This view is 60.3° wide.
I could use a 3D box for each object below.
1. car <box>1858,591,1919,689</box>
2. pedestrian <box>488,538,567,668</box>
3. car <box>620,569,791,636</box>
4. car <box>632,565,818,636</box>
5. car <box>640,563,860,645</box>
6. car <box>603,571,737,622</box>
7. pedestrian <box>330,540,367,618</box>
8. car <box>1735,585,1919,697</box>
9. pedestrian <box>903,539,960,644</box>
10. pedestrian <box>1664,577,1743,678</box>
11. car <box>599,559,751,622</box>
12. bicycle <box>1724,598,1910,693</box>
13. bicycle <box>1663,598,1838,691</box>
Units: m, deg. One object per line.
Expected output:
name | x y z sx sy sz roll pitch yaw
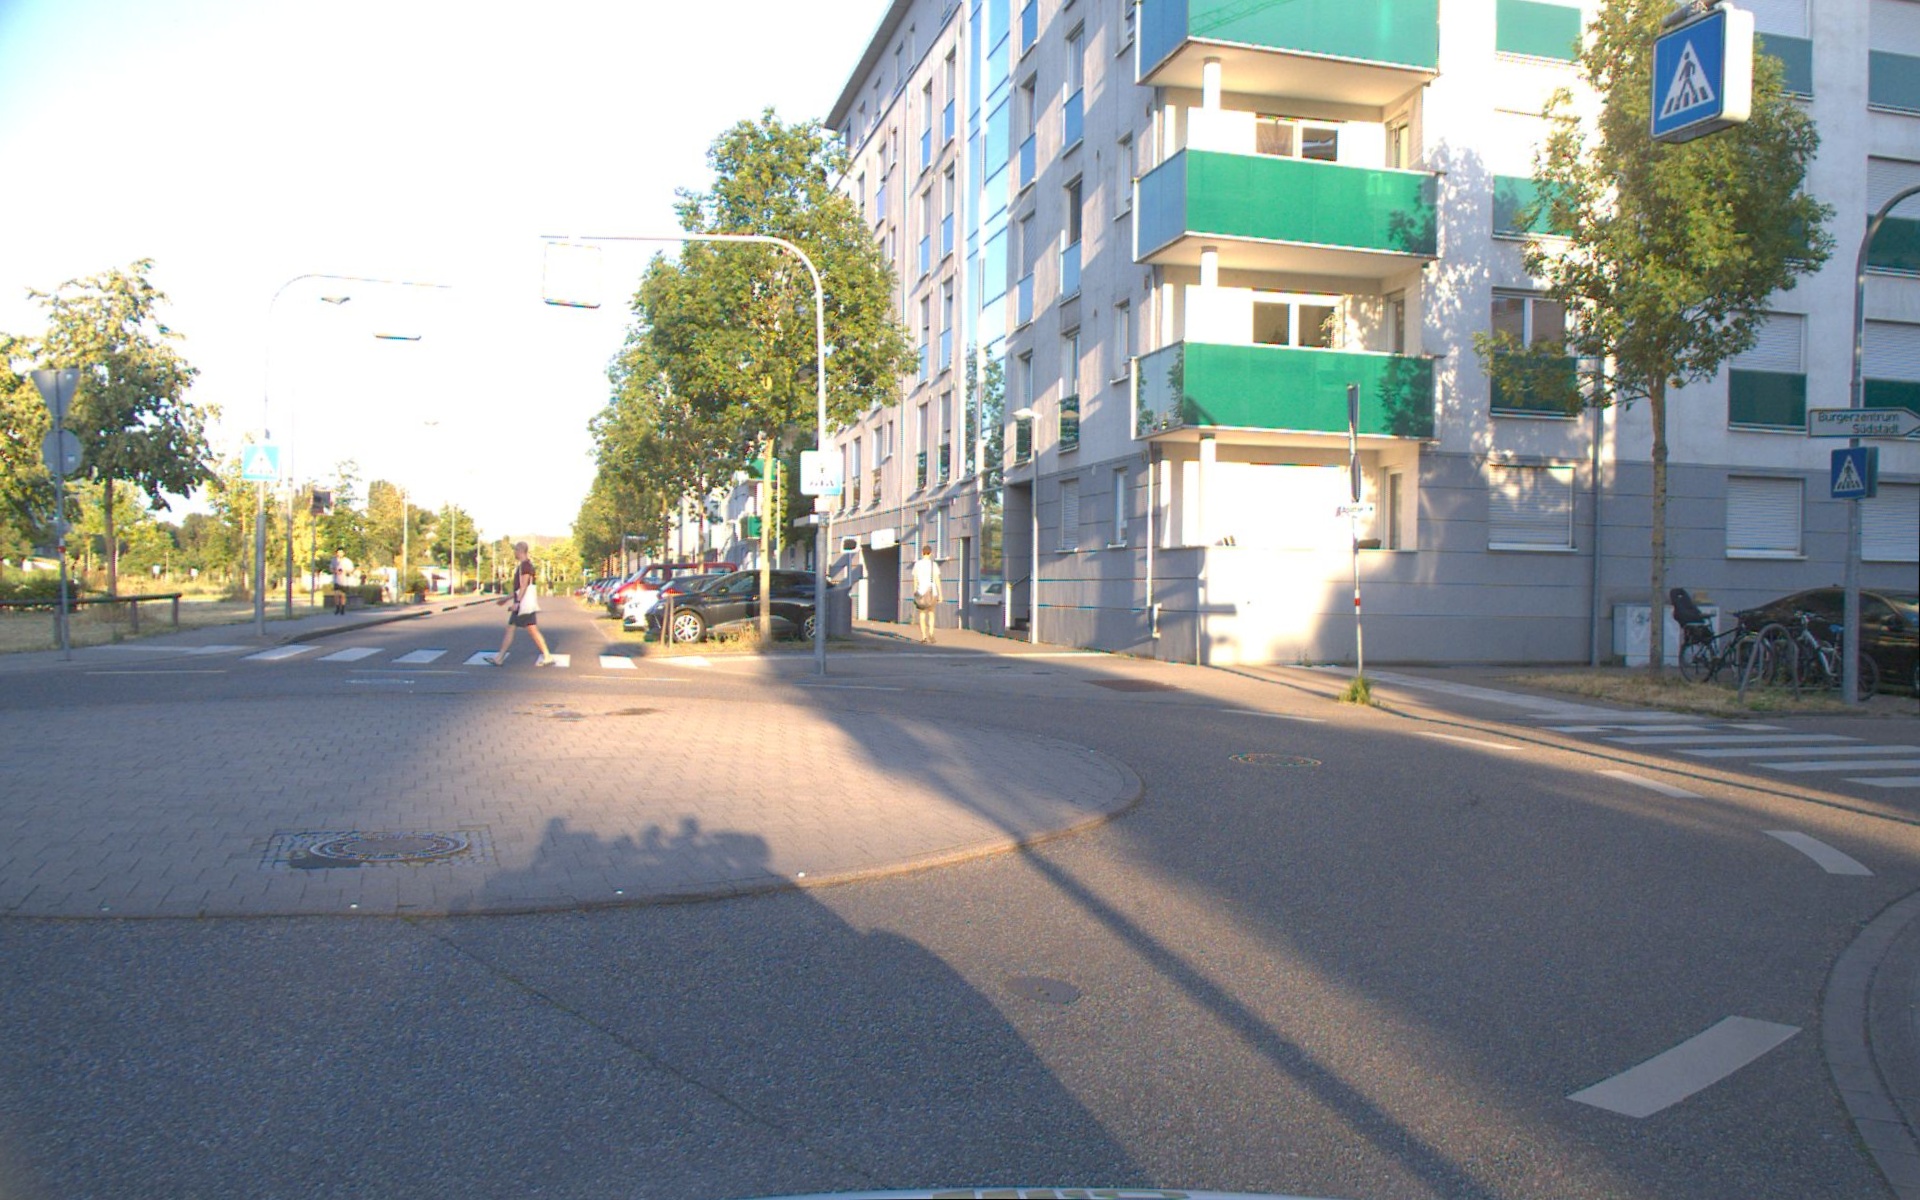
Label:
car | 15.818 0.634 24.363 1.961 1.478 4.575 0 0 -15
pedestrian | -6.216 0.045 23.748 0.988 1.819 0.758 2 0 -20
car | -6.526 0.067 42.200 4.189 1.624 1.994 1 0 -13
car | -5.666 0.022 39.606 4.279 1.624 1.994 1 0 -13
car | -4.427 0.078 34.624 4.406 1.624 1.994 1 0 -13
car | -9.486 -0.114 54.003 4.192 1.624 1.993 0 0 -15
pedestrian | -16.327 -0.565 44.145 0.855 2.049 0.784 0 0 -24
car | 13.379 0.538 23.343 1.961 1.478 4.575 0 0 -15
pedestrian | -0.565 -0.170 32.965 0.926 2.049 0.845 1 0 -18
pedestrian | 10.390 0.372 23.128 0.646 1.379 0.799 1 0 -16
car | -9.842 -0.307 57.028 4.925 2.081 2.239 0 0 -18
bicycle | 11.423 0.575 22.167 0.676 1.171 2.511 1 0 -16
bicycle | 10.616 0.566 22.342 0.685 1.171 2.450 1 0 -16
